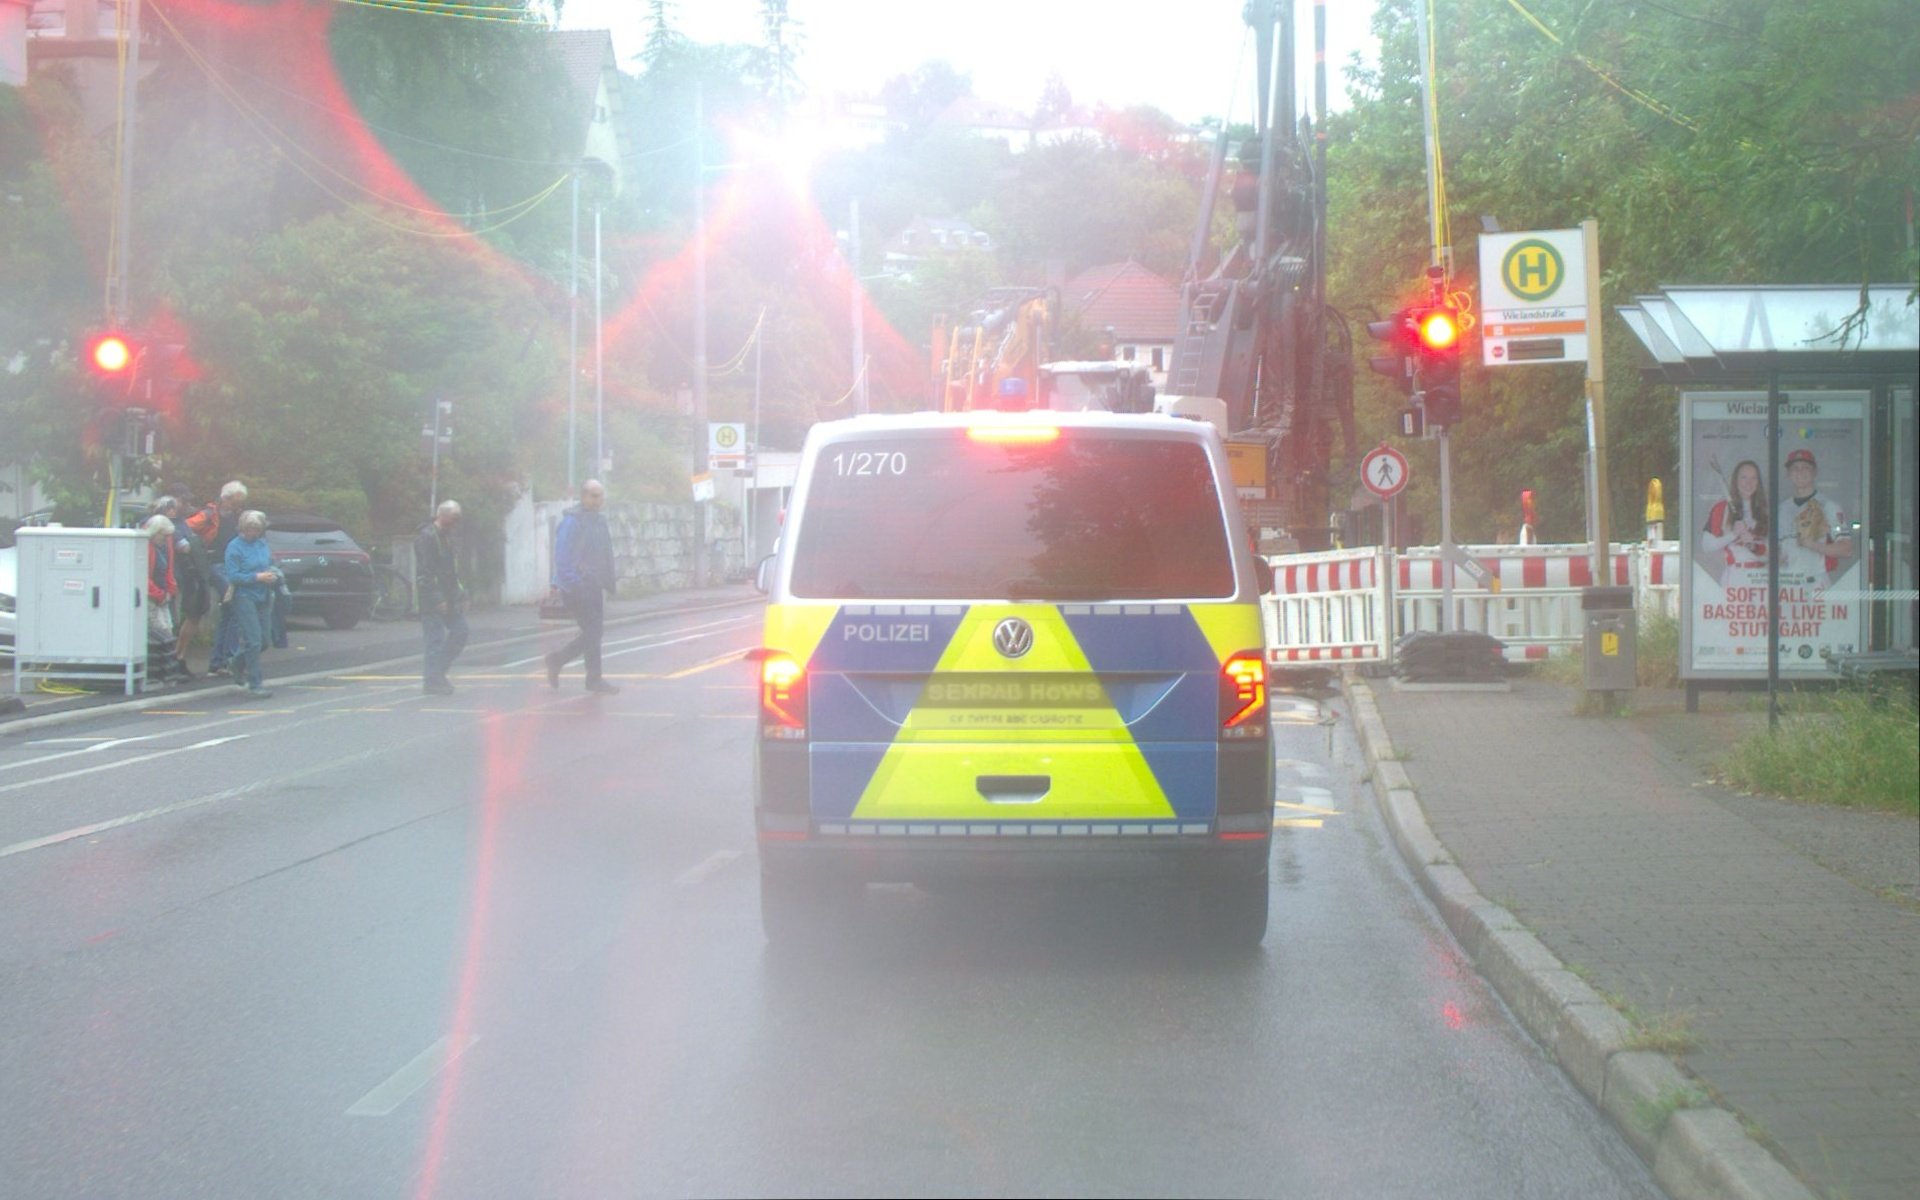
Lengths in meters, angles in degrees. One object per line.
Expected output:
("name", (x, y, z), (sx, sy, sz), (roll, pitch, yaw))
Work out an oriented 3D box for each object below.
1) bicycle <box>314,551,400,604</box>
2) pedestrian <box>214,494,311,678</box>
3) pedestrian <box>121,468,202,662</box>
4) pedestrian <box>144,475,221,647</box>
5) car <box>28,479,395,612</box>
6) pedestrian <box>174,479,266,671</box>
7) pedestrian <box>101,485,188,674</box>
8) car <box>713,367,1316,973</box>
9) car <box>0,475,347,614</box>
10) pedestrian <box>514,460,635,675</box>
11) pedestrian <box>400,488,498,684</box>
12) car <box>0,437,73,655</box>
("bicycle", (-7.902, -0.298, 45.047), (1.054, 0.660, 0.320), (2, -1, 12))
("pedestrian", (-5.881, -0.115, 28.996), (0.626, 1.516, 0.593), (2, -1, 3))
("pedestrian", (-6.937, -0.300, 29.878), (0.549, 1.662, 0.414), (2, -1, 3))
("pedestrian", (-6.877, -0.341, 30.429), (0.525, 1.502, 0.429), (2, -1, 3))
("car", (-9.153, -0.662, 42.138), (3.989, 1.481, 1.759), (2, -1, 12))
("pedestrian", (-6.705, -0.221, 31.164), (0.626, 1.709, 0.593), (2, -1, 3))
("pedestrian", (-6.934, -0.169, 29.253), (0.563, 1.577, 0.468), (2, -1, 3))
("car", (0.235, 0.151, 13.795), (1.993, 2.006, 4.402), (1, 2, 1))
("car", (-9.366, -0.641, 39.993), (3.989, 1.481, 1.759), (2, -1, 12))
("pedestrian", (-3.262, -0.268, 29.163), (0.890, 1.781, 0.828), (2, -1, 0))
("pedestrian", (-4.277, -0.113, 28.786), (0.686, 1.598, 0.606), (2, -1, 0))
("car", (-10.672, -0.538, 32.577), (3.989, 2.007, 1.829), (1, 1, 13))
